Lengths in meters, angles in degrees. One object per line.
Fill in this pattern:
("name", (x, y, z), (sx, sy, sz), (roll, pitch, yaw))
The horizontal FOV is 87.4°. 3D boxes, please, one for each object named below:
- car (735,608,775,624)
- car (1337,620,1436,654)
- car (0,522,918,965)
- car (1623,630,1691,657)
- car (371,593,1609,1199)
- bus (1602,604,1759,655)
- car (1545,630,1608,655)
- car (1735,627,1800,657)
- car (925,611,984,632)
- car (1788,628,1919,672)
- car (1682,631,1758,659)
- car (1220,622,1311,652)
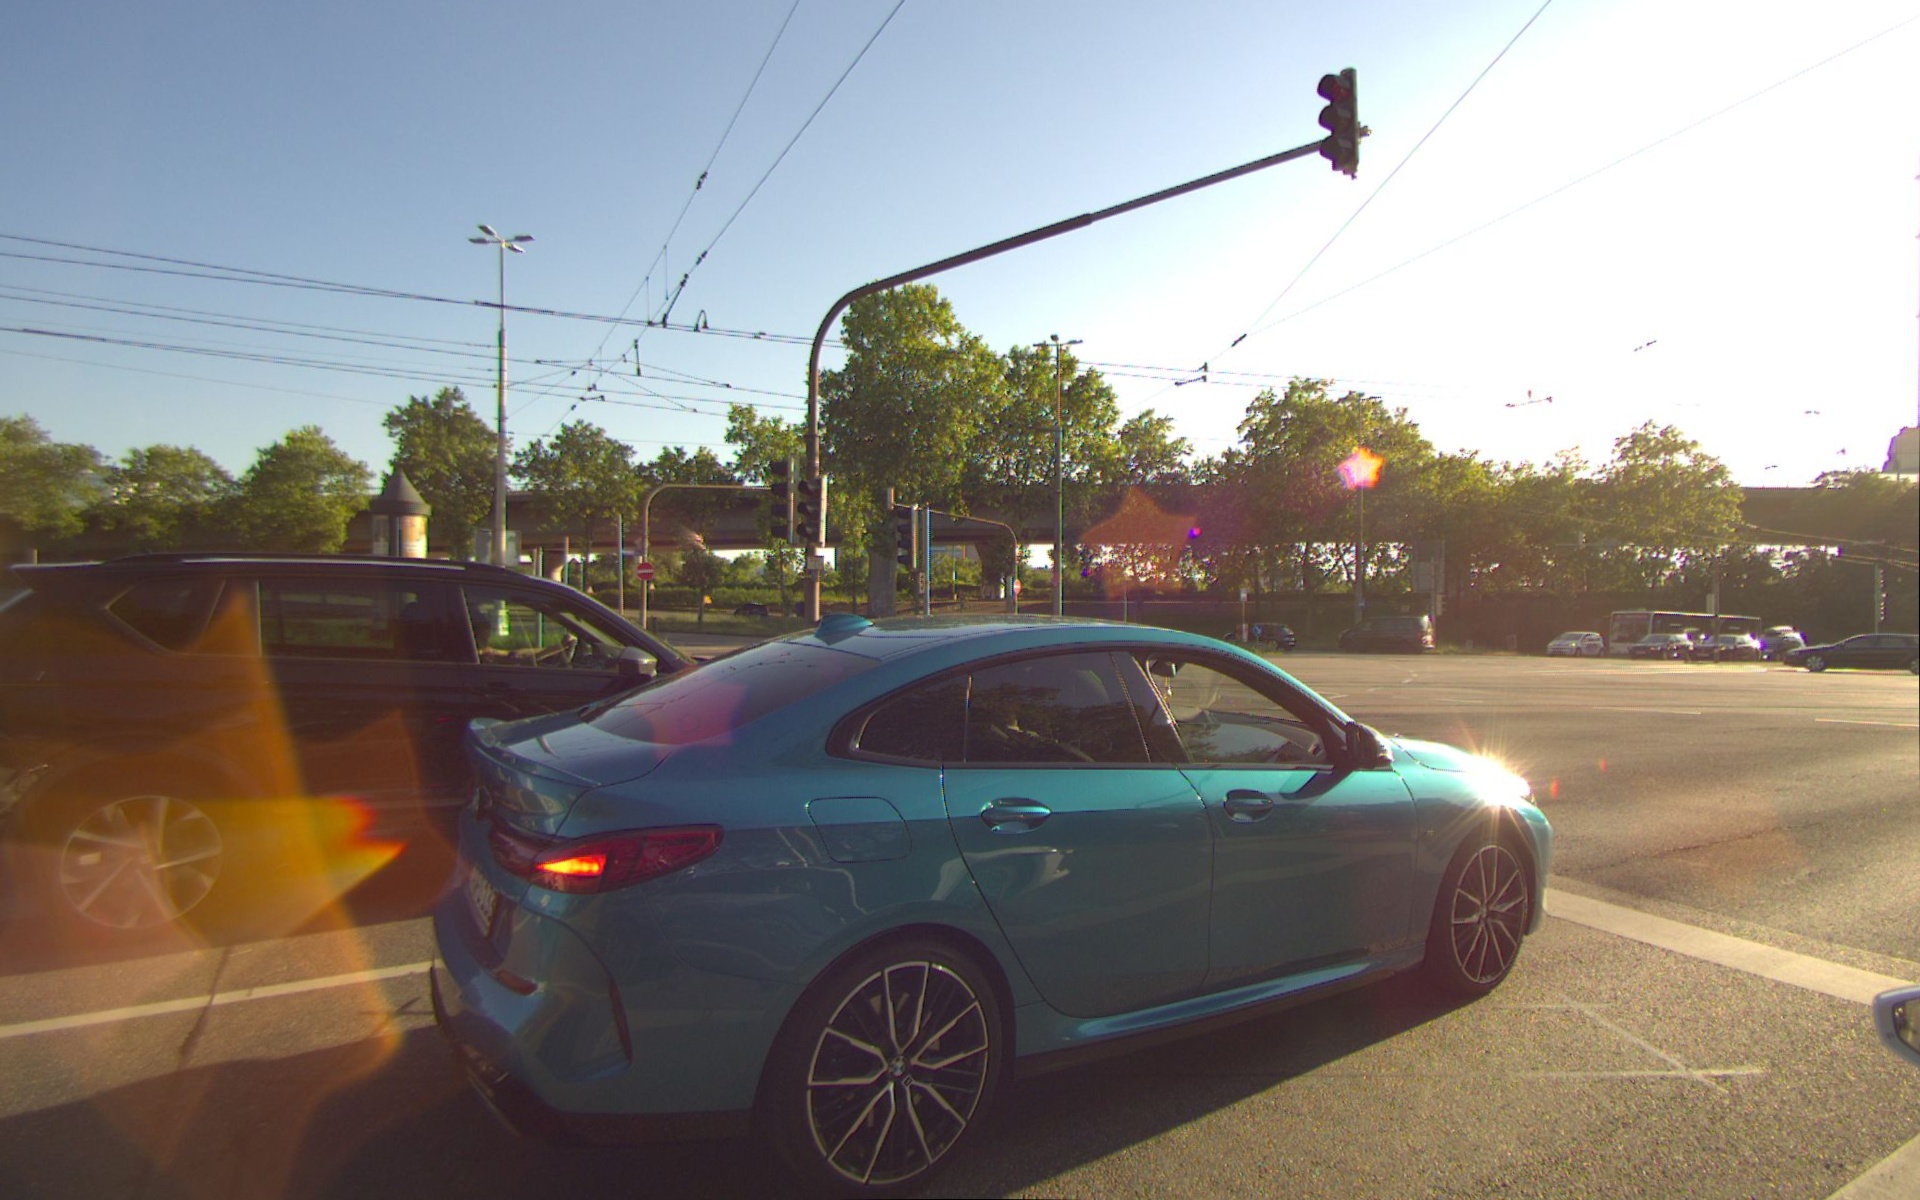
("car", (-20.166, 1.555, 98.743), (1.984, 1.473, 4.482), (2, -1, -40))
("car", (22.732, 1.960, 53.589), (4.472, 1.644, 1.988), (0, -1, 44))
("car", (-2.684, 0.597, 5.617), (4.550, 1.704, 1.905), (2, -1, -32))
("car", (37.856, 2.348, 54.542), (3.956, 1.372, 1.595), (2, -1, -32))
("car", (0.409, 0.759, 3.789), (4.465, 1.436, 1.774), (2, -1, -33))
("bus", (45.455, 1.884, 63.167), (12.693, 2.993, 2.811), (2, -1, -28))
("car", (35.170, 2.426, 57.305), (3.693, 1.372, 1.595), (2, -1, -32))
("car", (48.615, 2.518, 60.445), (4.046, 1.674, 1.703), (2, -1, -30))
("car", (-0.431, 1.602, 75.299), (1.986, 1.473, 4.477), (2, -1, -43))
("car", (33.175, 1.797, 36.677), (4.469, 1.473, 1.989), (0, -1, 42))
("car", (39.654, 2.333, 52.377), (4.046, 1.372, 1.703), (2, -1, -30))
("car", (16.633, 2.000, 54.890), (1.982, 1.473, 4.485), (2, -1, -38))
